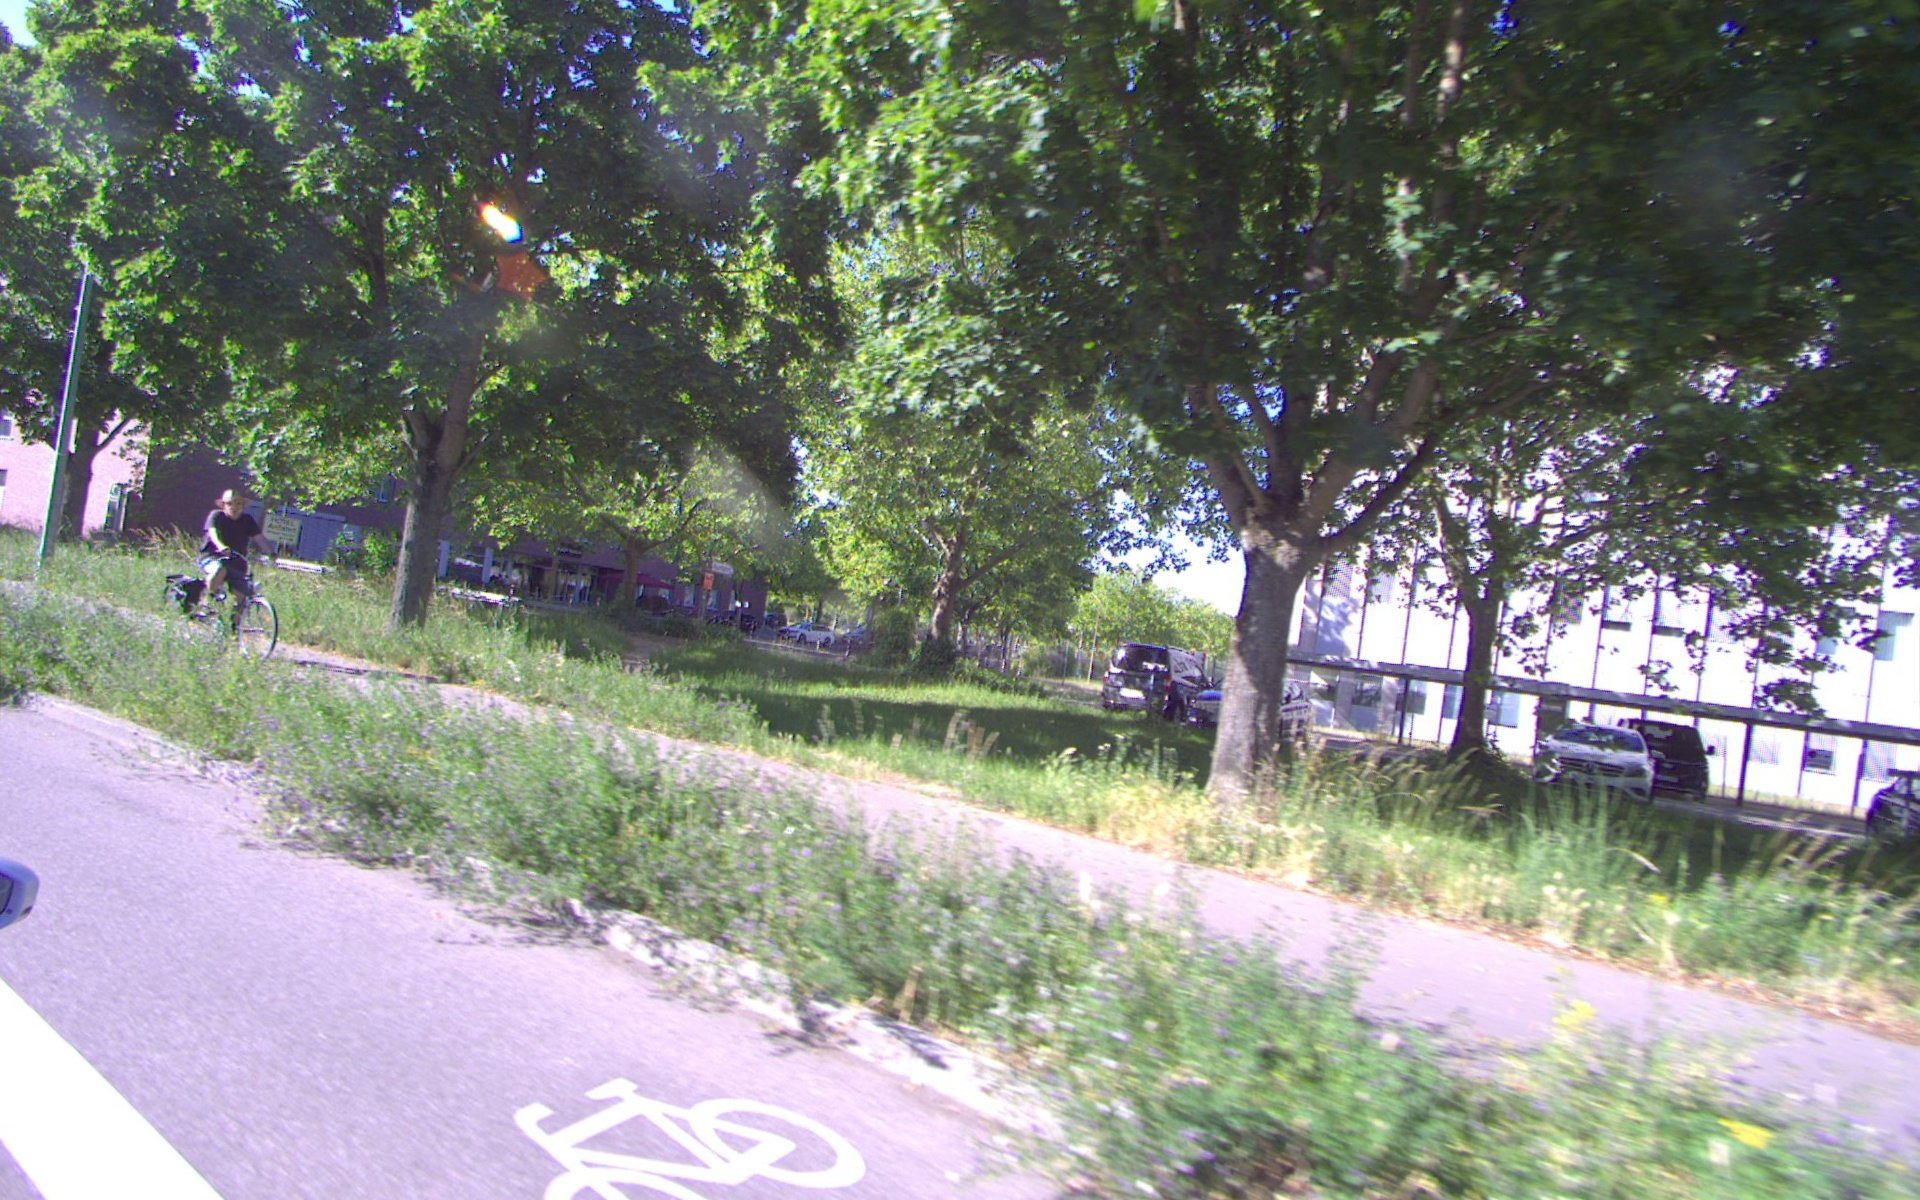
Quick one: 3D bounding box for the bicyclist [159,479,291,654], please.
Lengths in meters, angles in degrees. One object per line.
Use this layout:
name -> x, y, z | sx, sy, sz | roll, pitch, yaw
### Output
bicyclist -> -7.851, -0.353, 10.756 | 0.887, 1.740, 0.684 | 6, -1, 31

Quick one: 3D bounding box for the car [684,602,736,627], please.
car -> -20.339, 1.200, 82.029 | 1.840, 1.508, 4.001 | 7, -3, 26

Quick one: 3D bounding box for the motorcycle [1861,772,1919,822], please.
motorcycle -> 31.795, 6.673, 34.017 | 0.998, 1.336, 3.044 | 7, -2, 25

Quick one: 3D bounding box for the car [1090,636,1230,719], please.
car -> 4.664, 1.825, 22.966 | 1.709, 1.522, 4.038 | 7, -2, 32

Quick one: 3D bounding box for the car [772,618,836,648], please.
car -> -10.549, 2.267, 68.402 | 1.800, 1.414, 4.526 | 7, -3, 28

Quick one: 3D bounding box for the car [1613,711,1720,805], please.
car -> 18.988, 4.185, 27.239 | 1.926, 2.036, 4.594 | 7, -2, 32

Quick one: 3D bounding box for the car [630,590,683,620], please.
car -> -25.094, 0.440, 83.298 | 1.839, 1.849, 4.003 | 7, -2, 22

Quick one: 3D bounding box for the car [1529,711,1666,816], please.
car -> 11.791, 2.959, 18.590 | 1.795, 1.447, 4.172 | 7, -3, 34

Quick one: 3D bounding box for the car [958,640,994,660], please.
car -> 1.617, 4.920, 99.628 | 1.800, 1.478, 4.231 | 7, -3, 28

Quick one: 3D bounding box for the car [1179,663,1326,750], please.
car -> 6.425, 2.329, 21.748 | 1.662, 1.475, 4.362 | 7, -2, 34

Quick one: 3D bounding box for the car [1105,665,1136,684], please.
car -> 16.806, 7.803, 105.075 | 1.800, 1.478, 4.231 | 7, -3, 28

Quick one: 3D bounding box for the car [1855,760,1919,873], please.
car -> 15.339, 3.425, 15.173 | 1.677, 1.542, 4.006 | 7, -2, 28

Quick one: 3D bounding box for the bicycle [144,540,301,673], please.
bicycle -> -7.899, 0.046, 10.743 | 2.108, 1.218, 0.484 | 5, -2, 32
